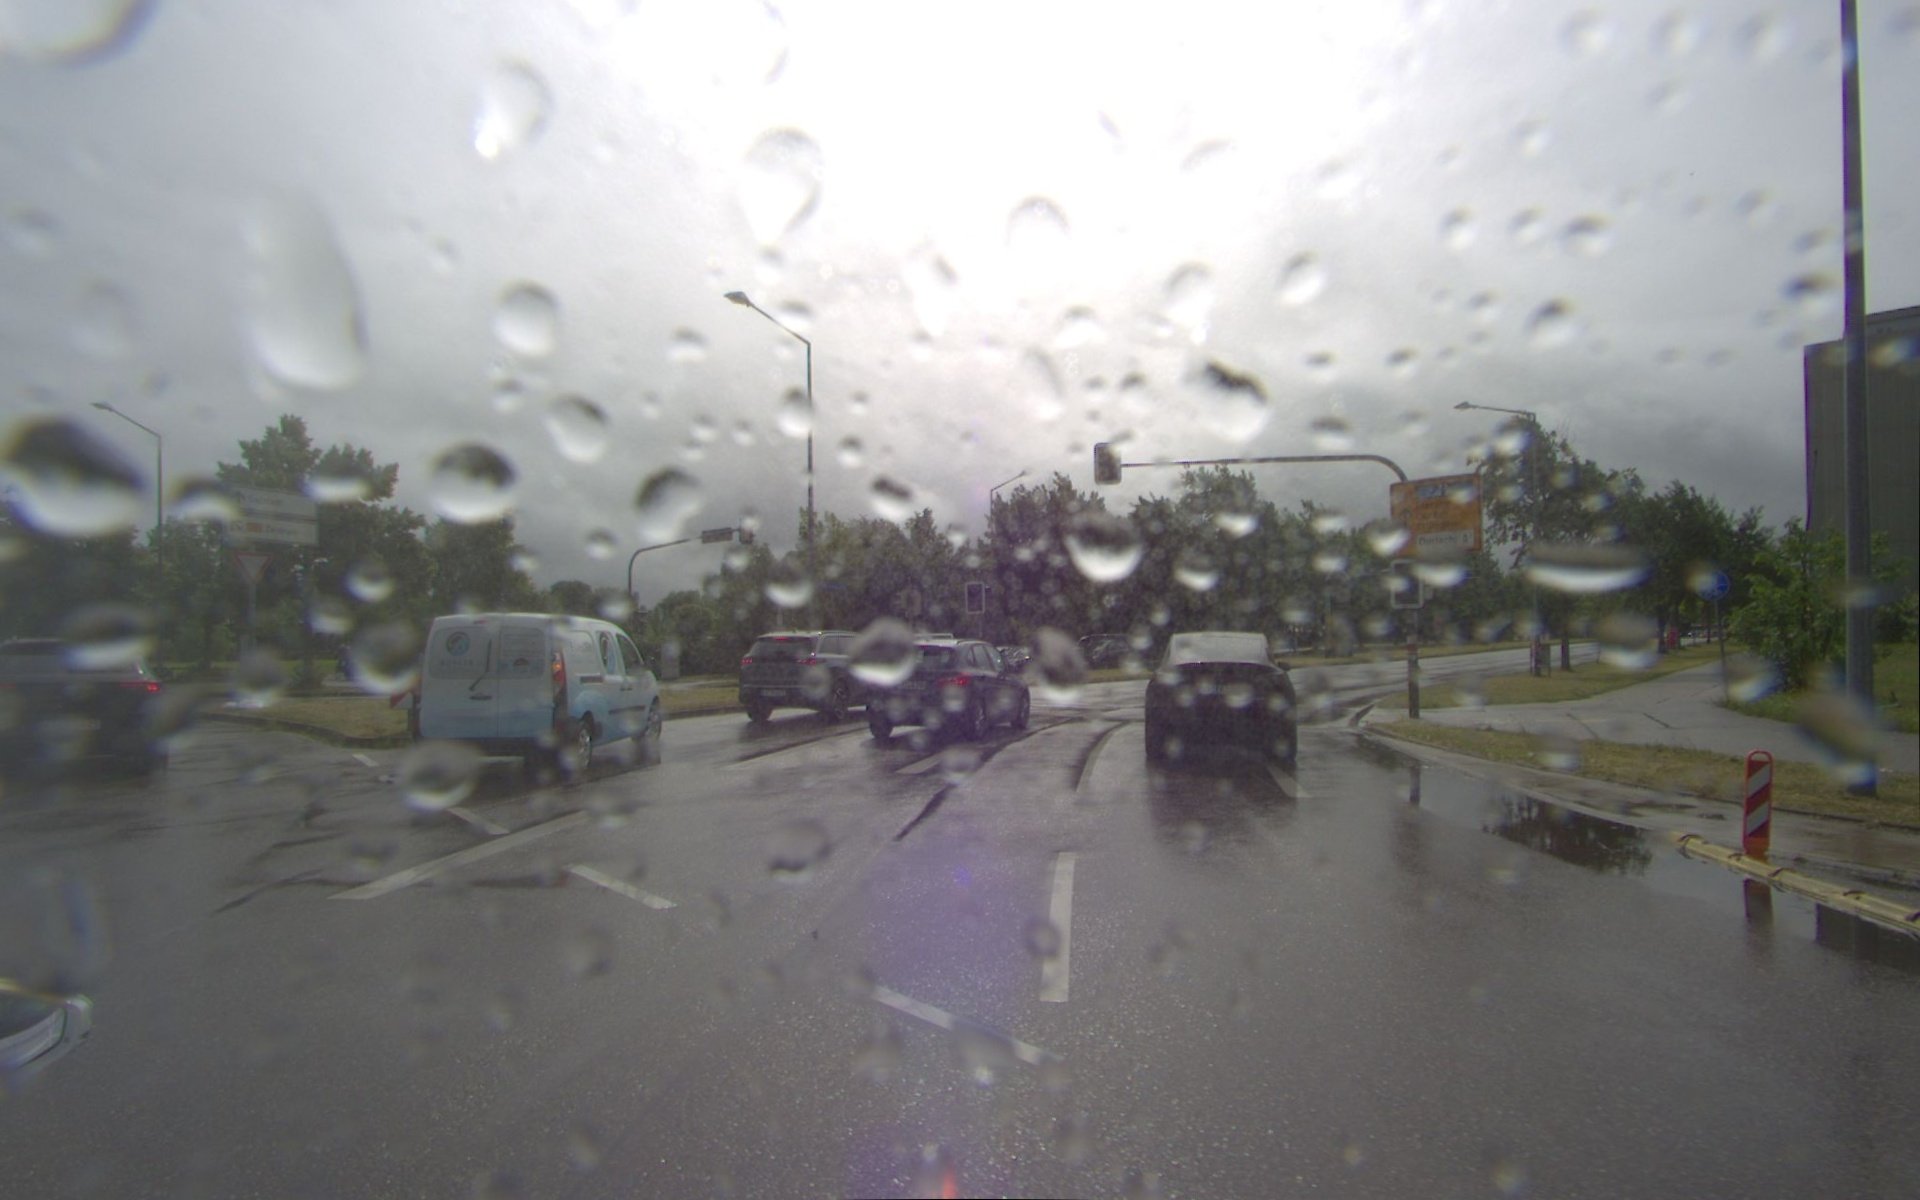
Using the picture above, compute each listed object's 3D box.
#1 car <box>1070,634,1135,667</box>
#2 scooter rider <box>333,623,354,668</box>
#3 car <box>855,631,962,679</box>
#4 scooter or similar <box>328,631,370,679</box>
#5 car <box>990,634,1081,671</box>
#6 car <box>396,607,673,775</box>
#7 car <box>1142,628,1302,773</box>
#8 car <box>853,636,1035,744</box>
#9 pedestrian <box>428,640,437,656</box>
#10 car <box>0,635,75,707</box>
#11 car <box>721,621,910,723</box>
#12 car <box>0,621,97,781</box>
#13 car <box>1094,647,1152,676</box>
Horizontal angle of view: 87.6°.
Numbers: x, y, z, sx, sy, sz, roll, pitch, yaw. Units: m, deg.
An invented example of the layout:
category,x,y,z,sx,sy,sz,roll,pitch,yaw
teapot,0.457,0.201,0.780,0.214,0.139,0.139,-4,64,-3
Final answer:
category,x,y,z,sx,sy,sz,roll,pitch,yaw
car,7.210,2.554,50.526,1.550,1.601,3.573,-1,-3,42
scooter rider,-28.403,2.098,46.148,0.698,2.038,0.764,2,-4,-40
car,-2.230,2.425,44.607,2.055,2.012,4.763,-1,-3,41
scooter or similar,-27.744,2.525,45.458,1.226,2.038,3.385,2,-5,-38
car,3.527,2.374,45.948,1.847,1.555,4.450,-2,-1,42
car,-5.188,1.060,12.969,1.831,1.785,4.554,0,-2,-3
car,3.613,1.237,14.090,1.840,1.678,4.497,0,-1,13
car,-0.126,1.381,16.647,1.778,1.547,3.994,-1,-2,19
pedestrian,-58.674,5.313,111.355,0.588,1.753,0.606,-1,-3,8
car,-21.634,1.531,22.201,3.937,1.481,1.714,-1,-1,27
car,-2.725,1.334,19.996,2.006,1.780,4.316,0,-1,19
car,-11.353,1.096,11.651,1.885,1.637,3.965,4,-4,-41
car,9.230,3.438,56.575,1.614,1.529,3.511,-1,-2,41
